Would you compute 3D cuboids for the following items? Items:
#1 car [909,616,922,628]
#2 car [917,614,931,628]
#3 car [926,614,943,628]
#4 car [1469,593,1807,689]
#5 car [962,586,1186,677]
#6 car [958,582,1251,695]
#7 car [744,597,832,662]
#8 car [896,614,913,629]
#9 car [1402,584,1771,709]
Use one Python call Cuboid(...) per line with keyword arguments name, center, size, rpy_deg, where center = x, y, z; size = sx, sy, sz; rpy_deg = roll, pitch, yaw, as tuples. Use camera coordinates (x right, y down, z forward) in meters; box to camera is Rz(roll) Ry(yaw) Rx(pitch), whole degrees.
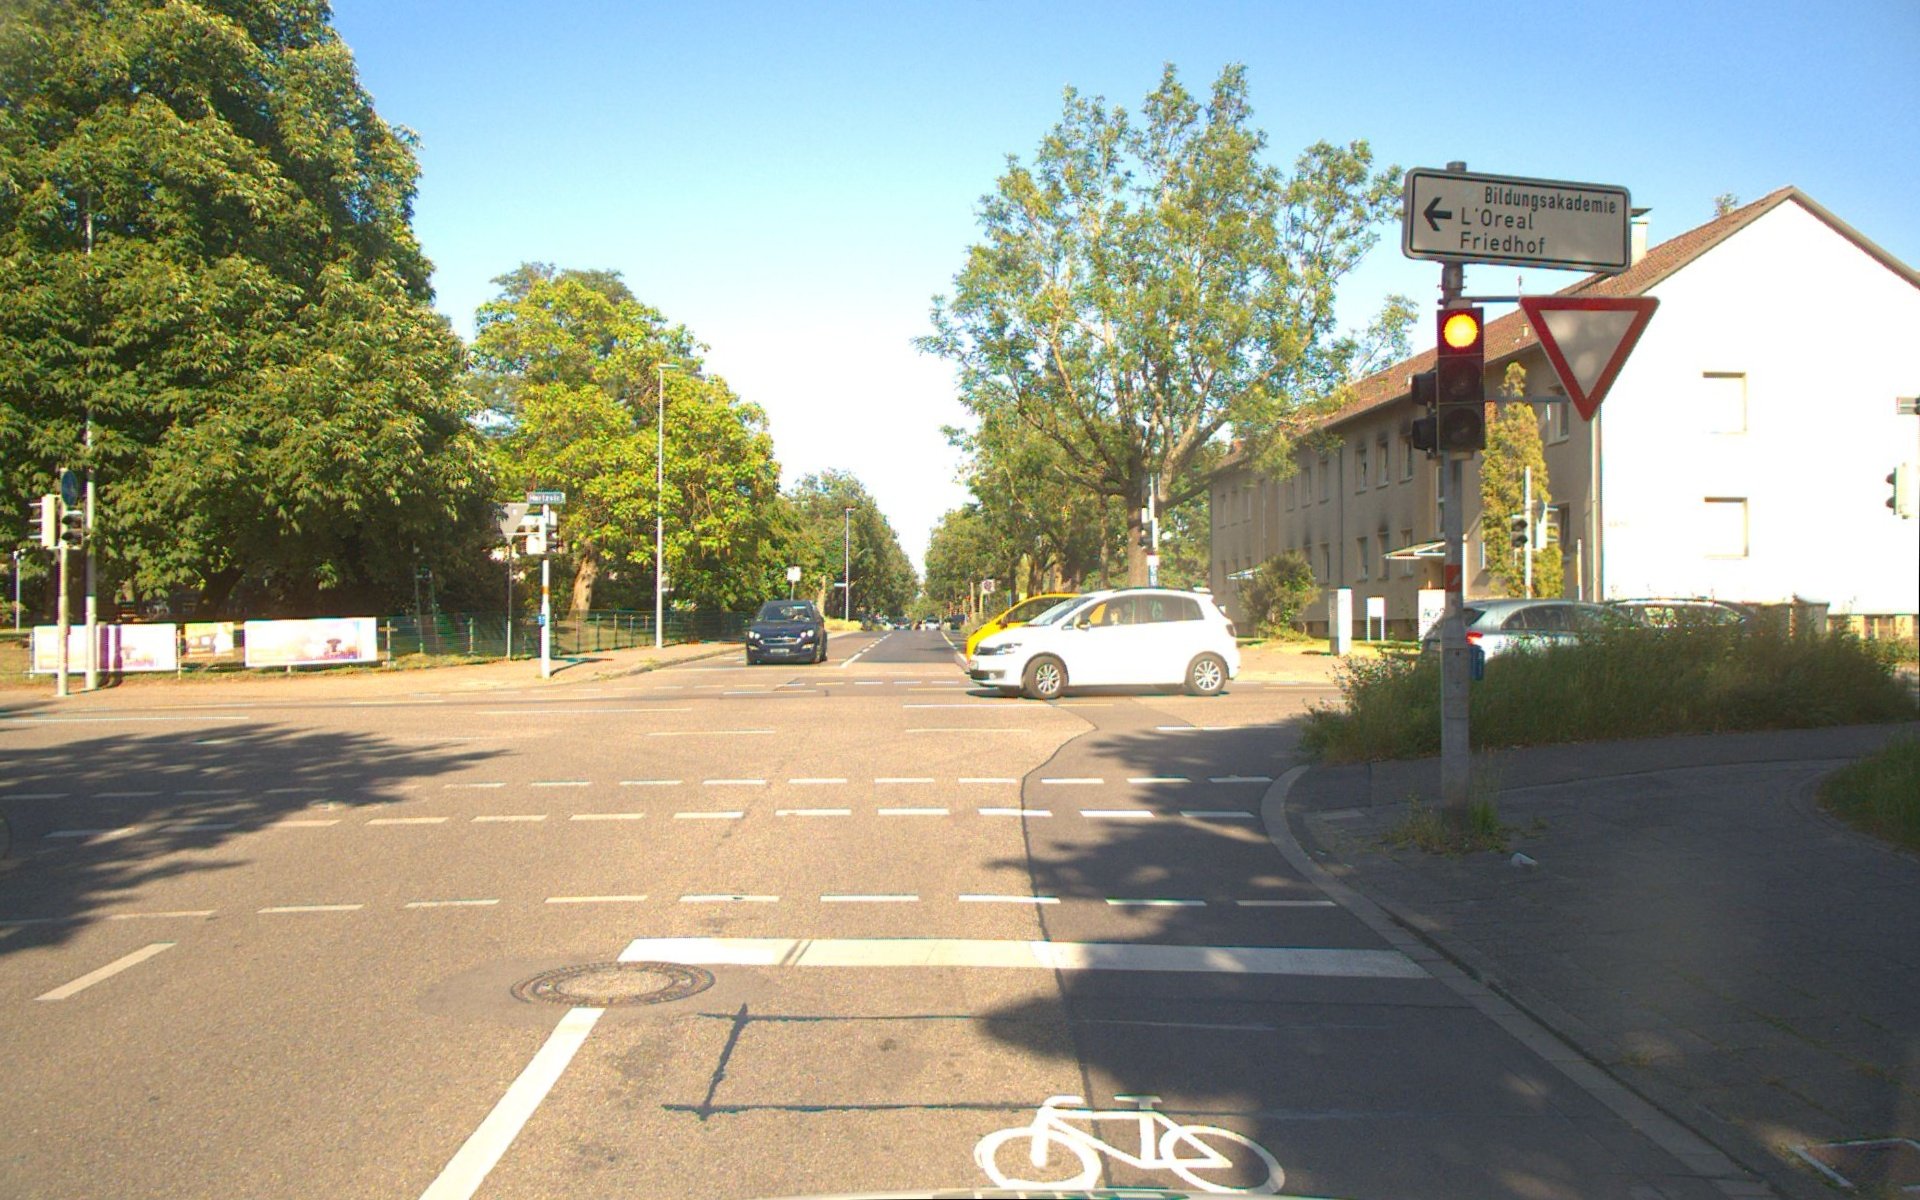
Cuboid(name="car", center=(-6.104, 3.047, 227.812), size=(1.722, 1.653, 3.268), rpy_deg=(0, 0, 0))
Cuboid(name="car", center=(-4.519, 2.636, 206.534), size=(1.722, 1.653, 3.268), rpy_deg=(0, 0, 0))
Cuboid(name="car", center=(-2.717, 2.263, 178.281), size=(1.807, 1.487, 3.529), rpy_deg=(0, 0, -1))
Cuboid(name="car", center=(10.826, 0.623, 26.635), size=(4.633, 1.455, 1.999), rpy_deg=(0, 0, -3))
Cuboid(name="car", center=(2.127, 0.567, 31.338), size=(3.920, 1.610, 1.750), rpy_deg=(1, -1, 36))
Cuboid(name="car", center=(2.139, 0.576, 24.858), size=(4.036, 1.591, 1.751), rpy_deg=(1, -1, -14))
Cuboid(name="car", center=(-3.960, 0.659, 38.555), size=(1.676, 1.410, 3.471), rpy_deg=(0, 0, 0))
Cuboid(name="car", center=(-6.096, 2.335, 180.465), size=(1.722, 1.653, 3.268), rpy_deg=(0, 0, 0))
Cuboid(name="car", center=(8.293, 0.589, 22.139), size=(4.198, 1.515, 1.912), rpy_deg=(-1, 0, -3))
